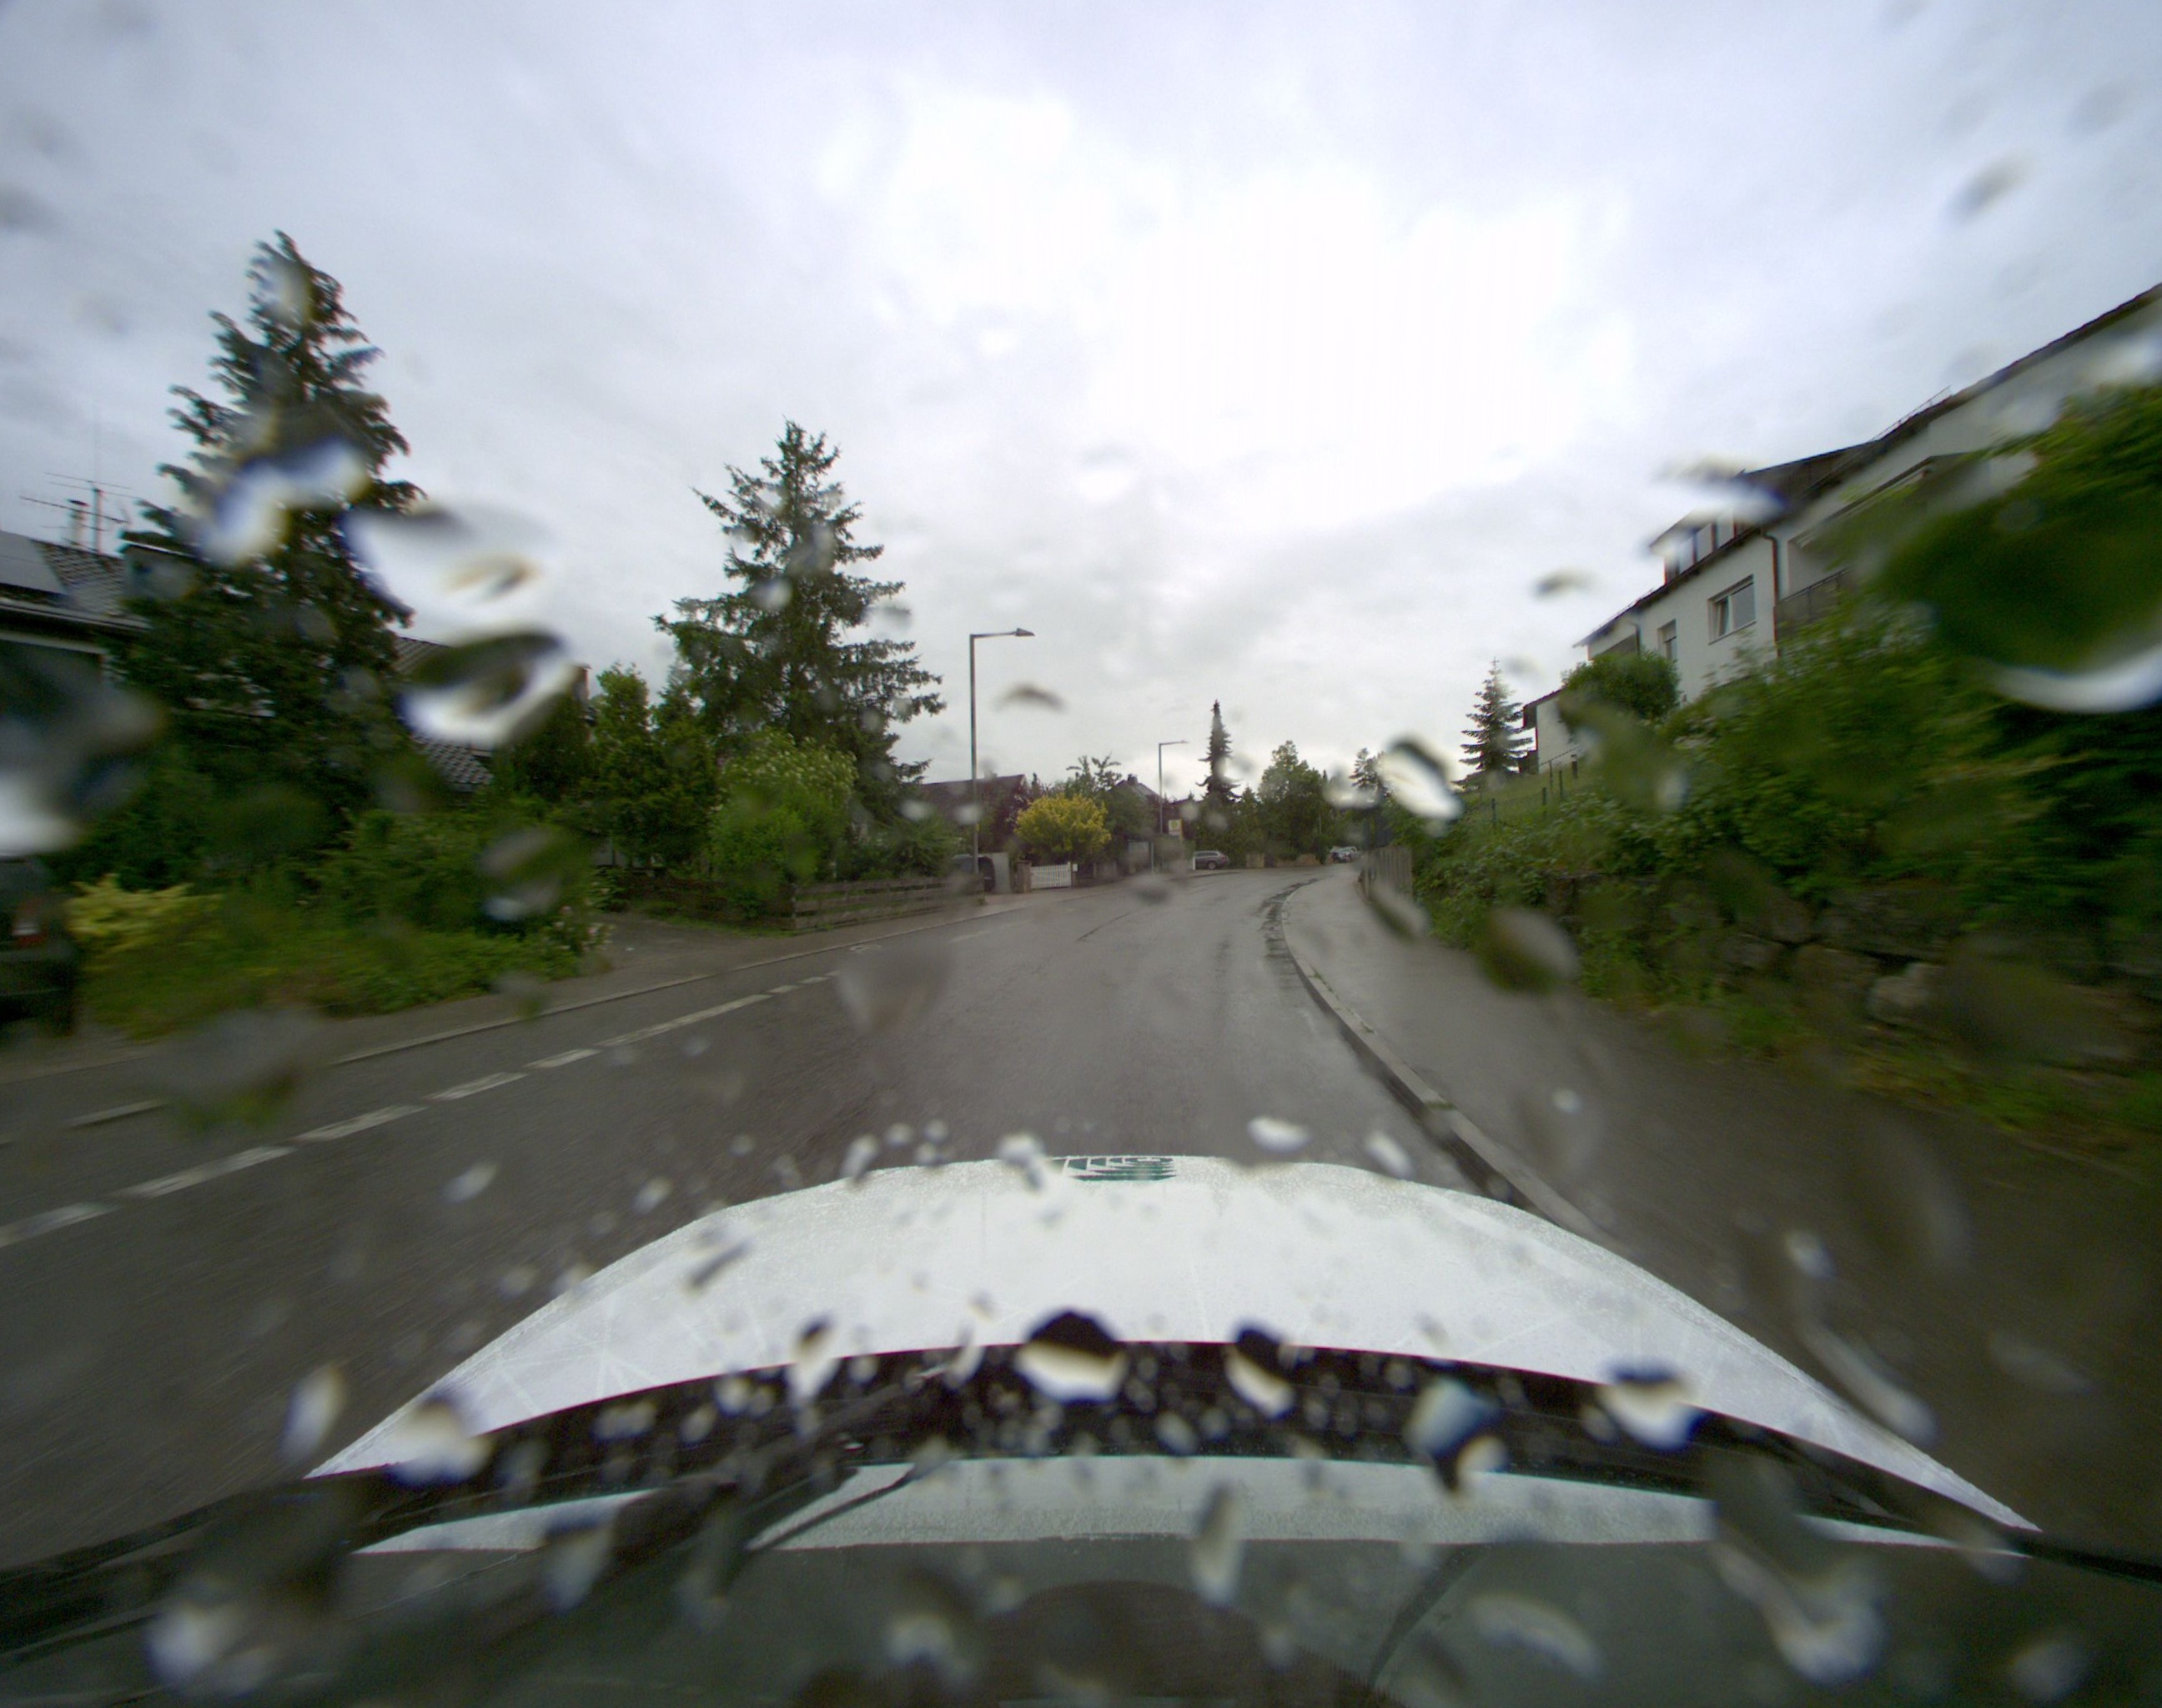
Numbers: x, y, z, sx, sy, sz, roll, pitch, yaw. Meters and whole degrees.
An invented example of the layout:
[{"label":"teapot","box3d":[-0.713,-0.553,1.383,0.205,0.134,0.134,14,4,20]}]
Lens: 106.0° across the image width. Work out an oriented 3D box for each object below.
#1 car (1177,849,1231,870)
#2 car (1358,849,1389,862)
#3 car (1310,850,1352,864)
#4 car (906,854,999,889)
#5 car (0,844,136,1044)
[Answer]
[{"label":"car","box3d":[9.513,0.424,63.199,3.812,1.572,1.795,-1,0,20]},{"label":"car","box3d":[34.492,0.159,96.040,1.975,1.460,4.024,-1,0,43]},{"label":"car","box3d":[27.583,0.339,89.905,3.949,1.460,1.914,-1,0,41]},{"label":"car","box3d":[-6.182,0.830,39.169,3.950,1.620,2.012,-1,0,26]},{"label":"car","box3d":[-9.382,0.608,6.622,3.948,1.389,1.953,1,-1,38]}]
